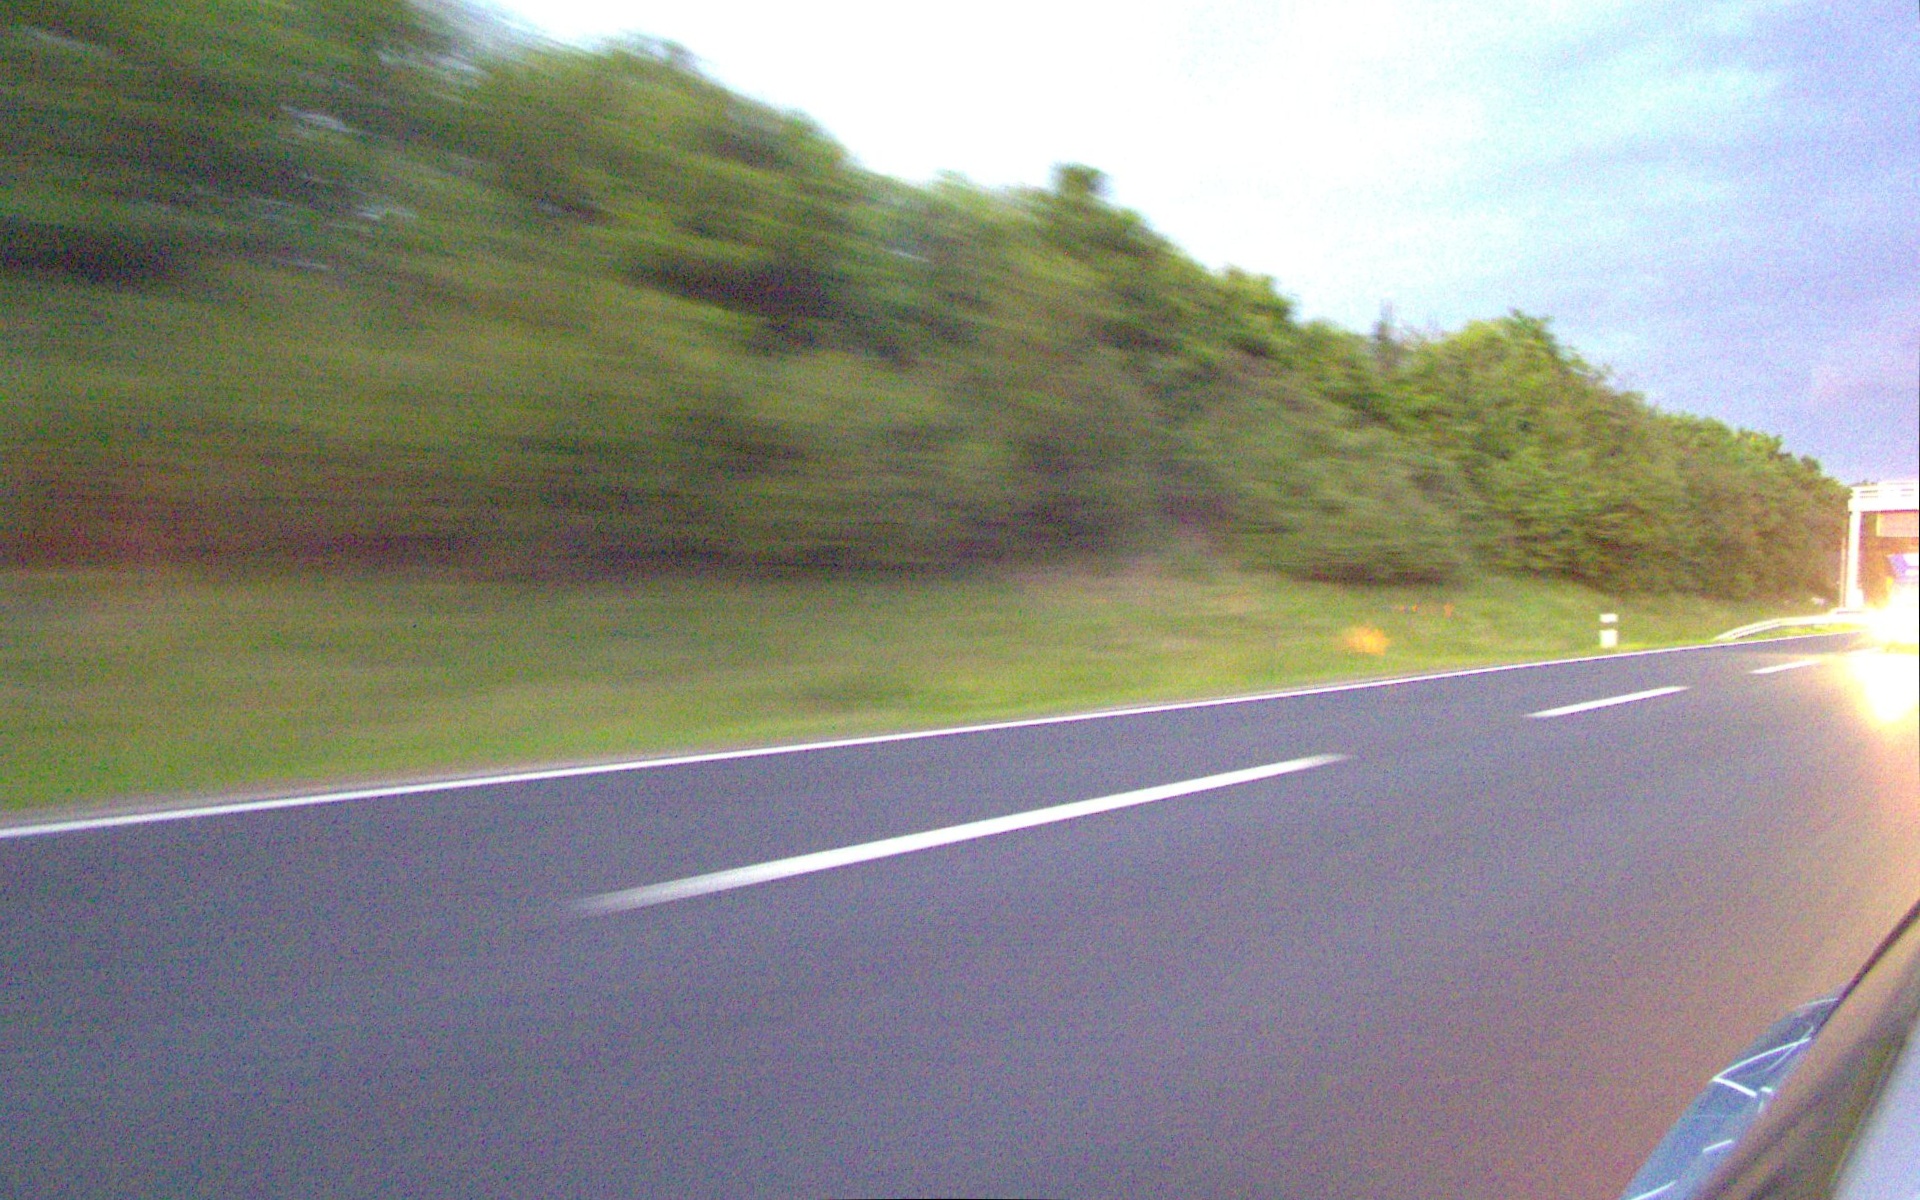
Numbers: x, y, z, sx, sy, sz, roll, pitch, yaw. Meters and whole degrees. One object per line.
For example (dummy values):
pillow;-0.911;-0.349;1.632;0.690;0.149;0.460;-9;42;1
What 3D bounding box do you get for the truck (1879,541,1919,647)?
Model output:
truck;29.913;-0.166;30.739;6.516;3.009;2.272;0;0;-41
